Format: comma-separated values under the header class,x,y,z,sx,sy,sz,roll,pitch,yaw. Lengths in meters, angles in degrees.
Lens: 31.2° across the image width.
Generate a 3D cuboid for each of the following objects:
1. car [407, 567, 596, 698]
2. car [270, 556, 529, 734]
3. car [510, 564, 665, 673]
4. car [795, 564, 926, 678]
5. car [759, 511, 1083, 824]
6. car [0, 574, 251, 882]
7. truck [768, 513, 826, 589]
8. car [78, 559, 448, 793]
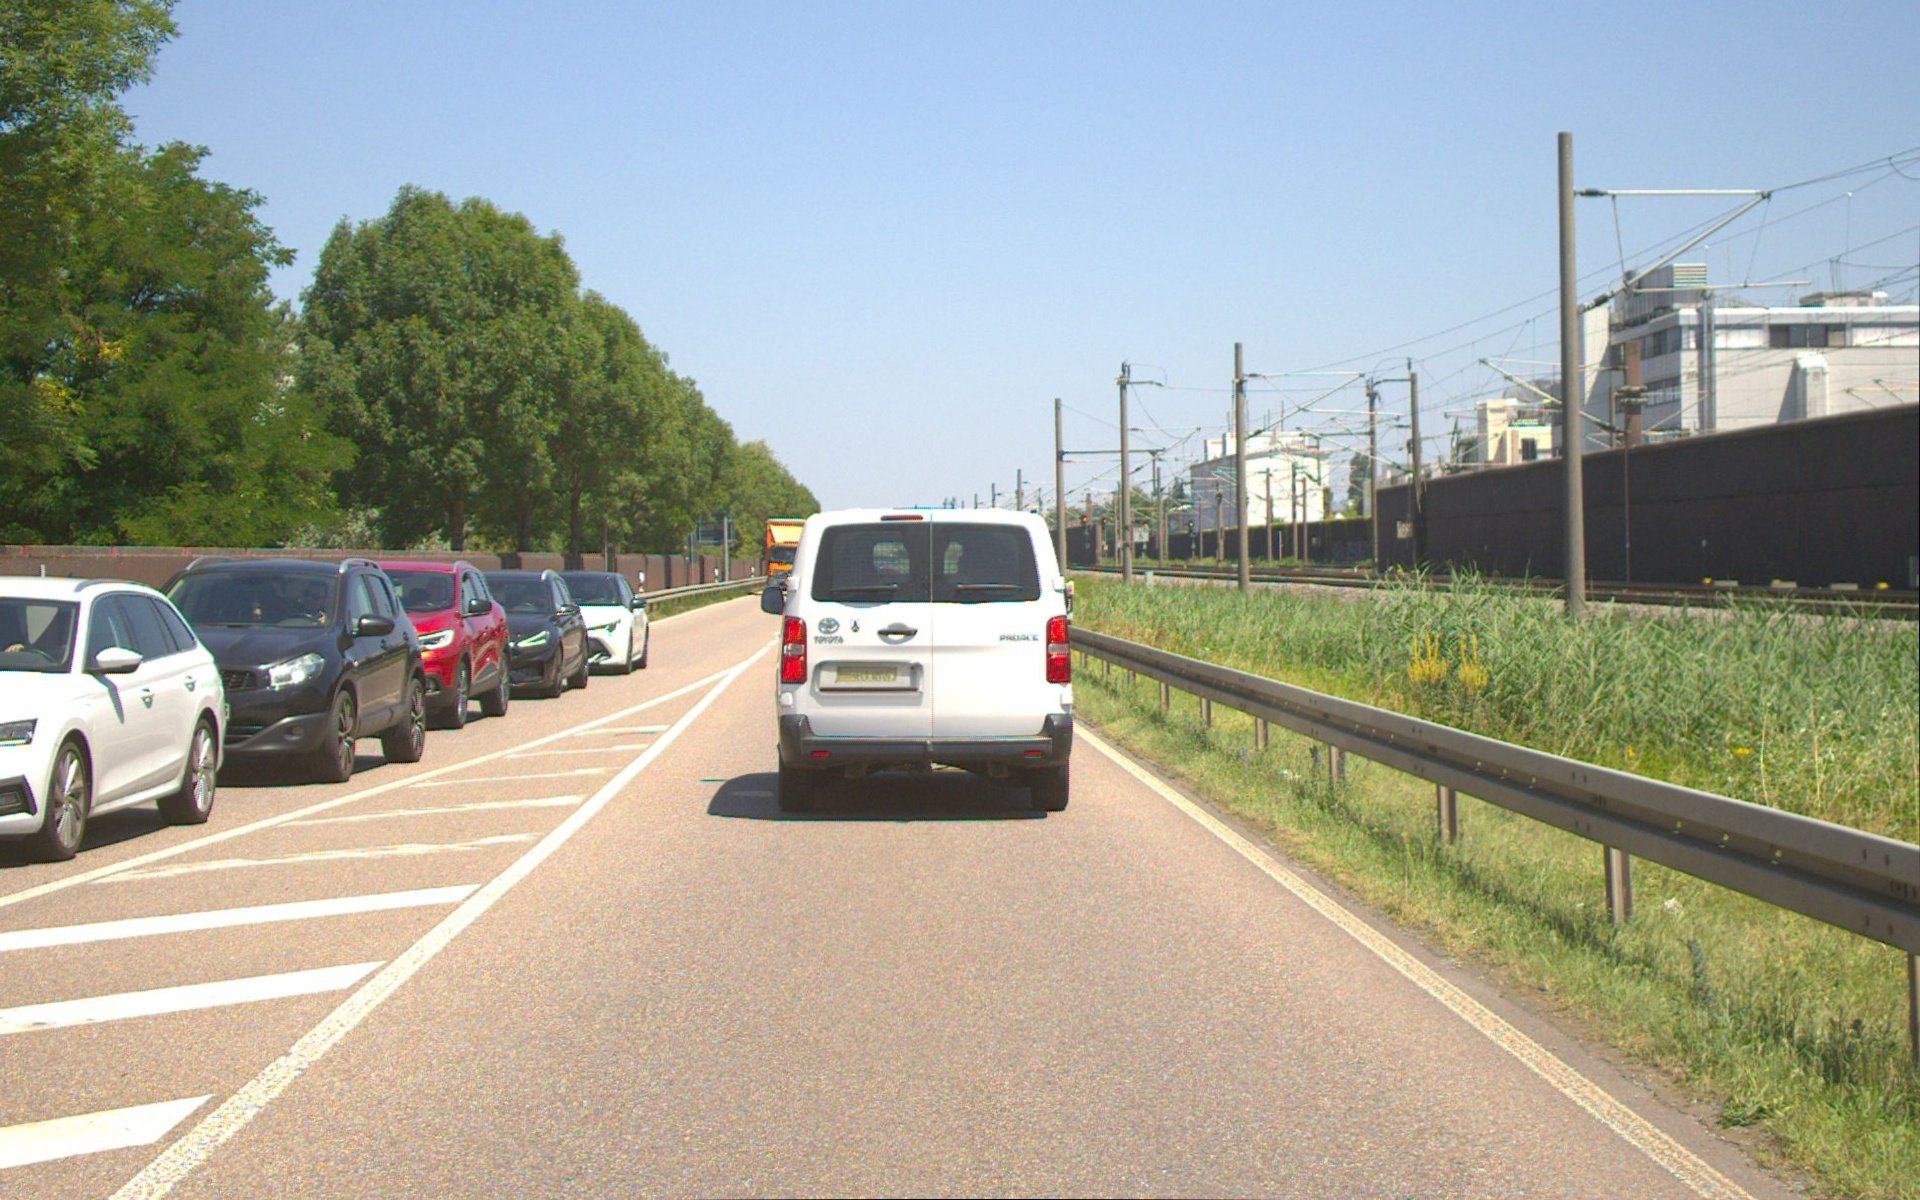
class,x,y,z,sx,sy,sz,roll,pitch,yaw
car,-5.436,0.350,41.231,1.685,1.455,4.616,1,1,-1
car,-5.490,0.391,34.171,1.755,1.626,4.279,0,1,2
car,-5.267,0.228,49.075,1.685,1.455,4.616,1,1,0
car,-1.573,0.290,52.885,1.905,1.644,4.142,1,1,-3
car,-0.302,0.394,23.183,1.945,1.875,4.881,0,0,-2
car,-5.343,0.607,19.169,1.653,1.473,4.630,0,1,2
truck,-8.448,-2.498,178.655,2.792,3.827,9.324,0,0,-1
car,-5.127,0.494,25.884,1.716,1.584,4.534,0,1,2
